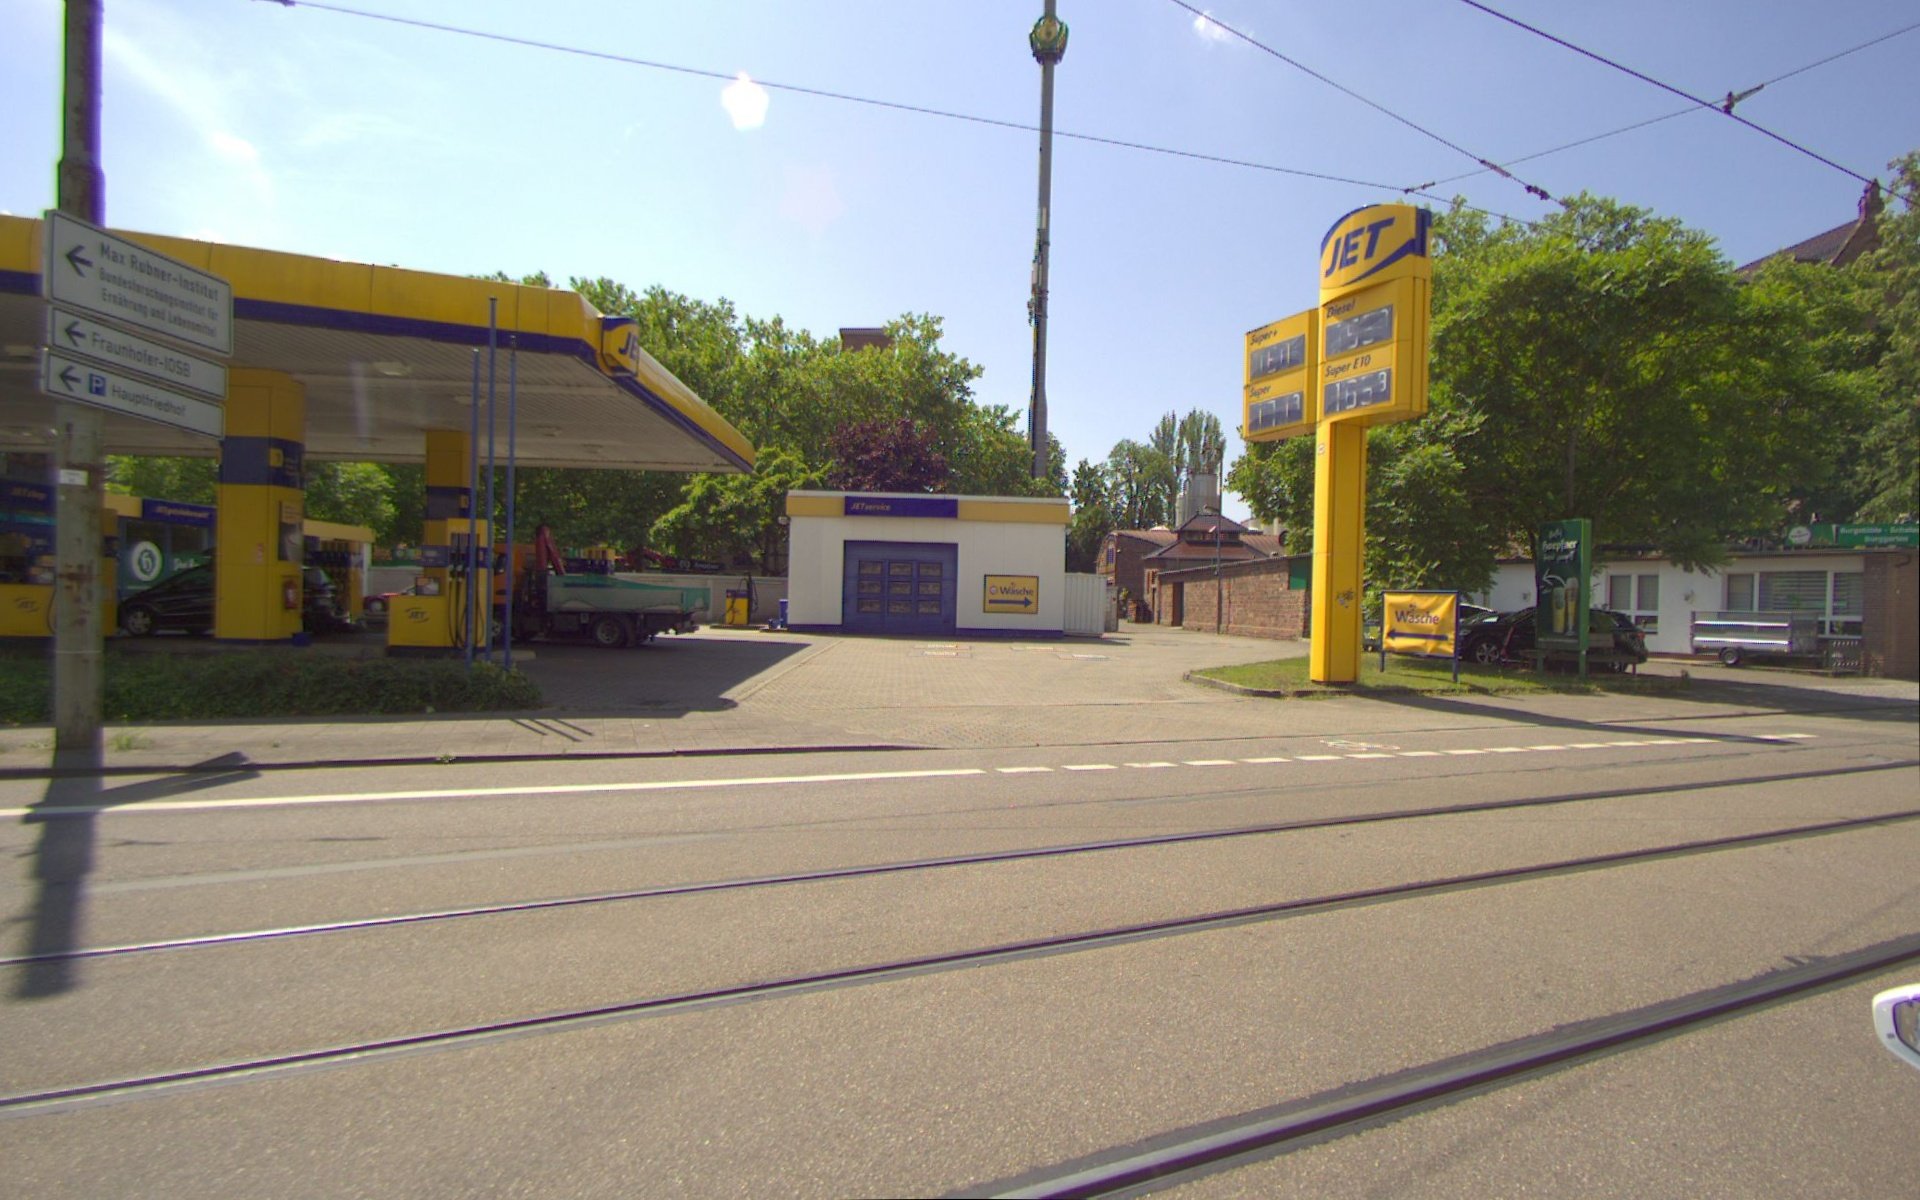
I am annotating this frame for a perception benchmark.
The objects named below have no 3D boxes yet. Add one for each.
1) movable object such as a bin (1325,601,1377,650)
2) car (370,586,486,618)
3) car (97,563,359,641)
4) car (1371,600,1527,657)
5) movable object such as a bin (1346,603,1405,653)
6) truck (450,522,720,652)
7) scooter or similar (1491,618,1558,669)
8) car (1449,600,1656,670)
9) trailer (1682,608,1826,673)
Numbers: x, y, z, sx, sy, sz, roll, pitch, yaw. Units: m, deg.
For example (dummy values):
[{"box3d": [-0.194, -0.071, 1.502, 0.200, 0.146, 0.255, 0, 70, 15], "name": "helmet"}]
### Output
[{"box3d": [11.559, 0.740, 29.725, 0.745, 1.372, 1.345, 1, 0, -14], "name": "movable object such as a bin"}, {"box3d": [-22.459, 0.067, 42.536, 3.925, 1.226, 1.757, 1, 0, -7], "name": "car"}, {"box3d": [-15.831, 0.044, 21.884, 4.255, 1.499, 2.000, 1, 0, 2], "name": "car"}, {"box3d": [15.342, 0.860, 31.781, 4.248, 1.613, 1.910, 2, 0, 21], "name": "car"}, {"box3d": [11.676, 0.778, 28.269, 0.749, 1.372, 1.339, 1, 0, -28], "name": "movable object such as a bin"}, {"box3d": [-8.102, -0.282, 21.976, 5.098, 2.531, 2.001, 2, 0, 4], "name": "truck"}, {"box3d": [13.814, 1.053, 24.613, 1.333, 1.190, 0.406, 2, 1, 17], "name": "scooter or similar"}, {"box3d": [15.212, 0.866, 26.071, 4.247, 1.611, 2.000, 1, 0, 18], "name": "car"}, {"box3d": [22.885, 1.137, 29.022, 1.599, 1.726, 2.821, 1, 0, -25], "name": "trailer"}]
